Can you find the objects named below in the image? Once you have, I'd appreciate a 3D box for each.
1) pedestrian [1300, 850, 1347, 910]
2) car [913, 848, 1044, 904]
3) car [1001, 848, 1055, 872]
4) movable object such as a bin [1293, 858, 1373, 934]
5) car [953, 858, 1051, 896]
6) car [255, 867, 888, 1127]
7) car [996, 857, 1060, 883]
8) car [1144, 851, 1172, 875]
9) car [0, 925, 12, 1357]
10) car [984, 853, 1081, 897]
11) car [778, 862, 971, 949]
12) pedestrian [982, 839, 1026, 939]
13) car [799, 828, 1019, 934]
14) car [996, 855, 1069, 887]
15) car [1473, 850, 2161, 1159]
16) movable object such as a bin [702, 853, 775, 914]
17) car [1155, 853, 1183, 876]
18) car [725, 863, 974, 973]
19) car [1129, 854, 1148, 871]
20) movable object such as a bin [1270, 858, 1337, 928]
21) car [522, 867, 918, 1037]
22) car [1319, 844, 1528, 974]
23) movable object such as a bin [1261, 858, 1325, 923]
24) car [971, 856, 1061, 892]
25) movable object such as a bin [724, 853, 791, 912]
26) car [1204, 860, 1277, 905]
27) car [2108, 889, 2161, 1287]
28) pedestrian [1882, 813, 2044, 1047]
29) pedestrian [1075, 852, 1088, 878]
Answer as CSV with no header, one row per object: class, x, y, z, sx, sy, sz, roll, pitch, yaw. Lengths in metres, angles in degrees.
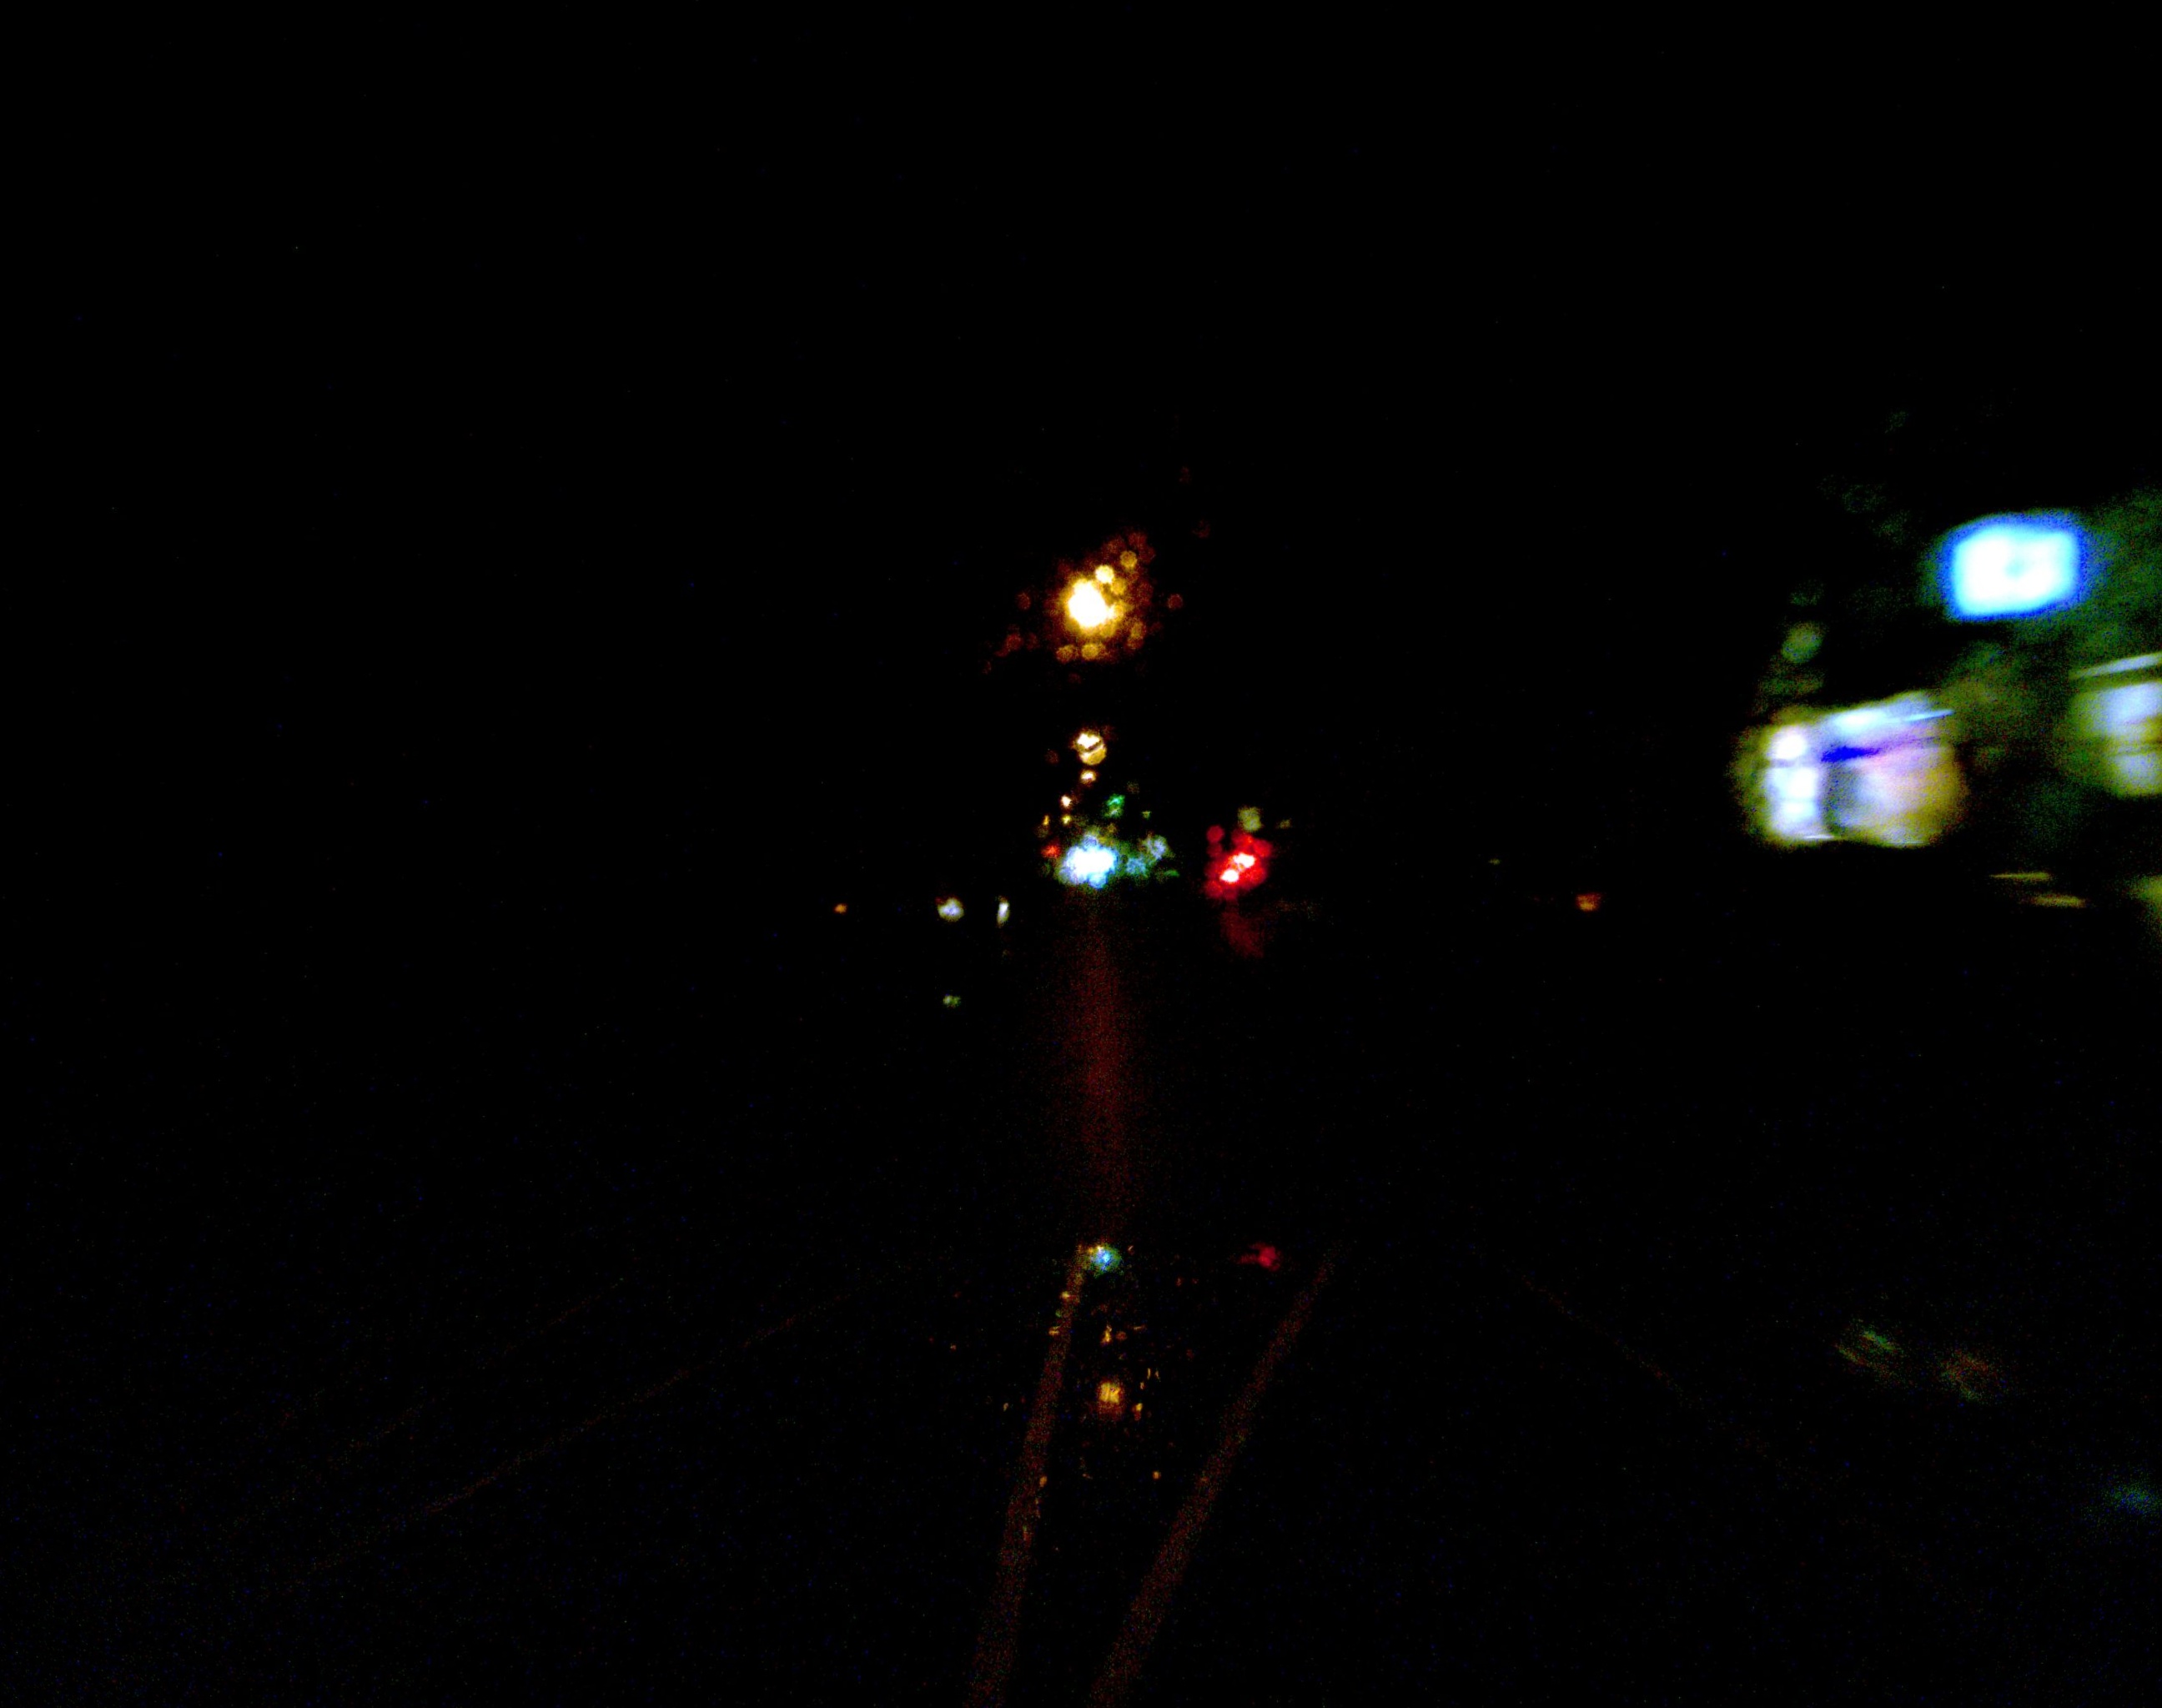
pedestrian,7.246,0.766,22.705,1.135,1.772,0.788,-1,0,1
car,-3.622,0.766,27.125,4.256,1.848,1.712,1,1,-35
car,-5.329,0.577,76.135,4.951,2.327,2.226,0,0,-33
movable object such as a bin,5.147,0.838,15.628,1.265,1.451,1.151,-2,1,3
car,-3.651,1.024,35.141,4.068,1.601,1.840,-1,0,-29
car,-3.927,0.921,6.556,4.007,1.543,1.800,0,1,-34
car,-3.422,1.023,48.716,3.717,1.514,1.653,1,1,-24
car,6.174,0.687,61.206,1.871,1.835,4.827,0,0,2
car,-4.830,0.972,0.757,4.007,1.444,1.683,0,1,-35
car,-2.130,0.895,33.462,3.809,1.718,1.737,-2,1,-30
car,-4.103,0.944,15.234,3.407,1.533,1.573,0,1,-35
pedestrian,-1.580,0.705,15.579,0.645,2.001,0.676,2,0,-30
car,-4.039,0.566,18.146,4.734,2.235,1.941,0,1,-35
car,-2.639,0.913,41.172,3.569,1.601,1.710,-1,0,-21
car,4.899,0.788,5.920,1.607,1.543,4.025,-2,0,1
movable object such as a bin,-8.408,0.704,18.691,1.258,1.364,0.999,4,1,1
car,5.980,0.701,51.765,1.550,1.434,3.563,-3,0,1
car,-3.757,0.935,12.428,3.659,1.533,1.556,0,1,-29
car,5.839,0.810,76.814,1.815,1.660,4.413,-1,0,6
movable object such as a bin,4.910,0.847,16.840,1.167,1.451,1.107,-2,1,3
car,-4.254,0.960,9.177,4.008,1.543,1.994,0,1,-37
car,5.099,0.724,11.879,1.607,1.696,3.721,-1,0,1
movable object such as a bin,5.001,0.845,18.014,1.211,1.451,1.107,-2,1,3
car,-3.251,0.972,38.187,4.113,1.754,1.855,0,0,-27
movable object such as a bin,-8.440,0.726,19.875,1.212,1.442,0.999,4,1,1
car,5.334,0.908,25.914,1.658,1.351,4.222,-1,0,1
car,4.757,0.824,0.735,1.690,1.447,4.315,-2,0,1
pedestrian,6.974,0.581,6.033,0.641,1.771,0.549,0,1,1
pedestrian,0.026,0.752,51.550,0.824,1.760,1.177,0,0,0
